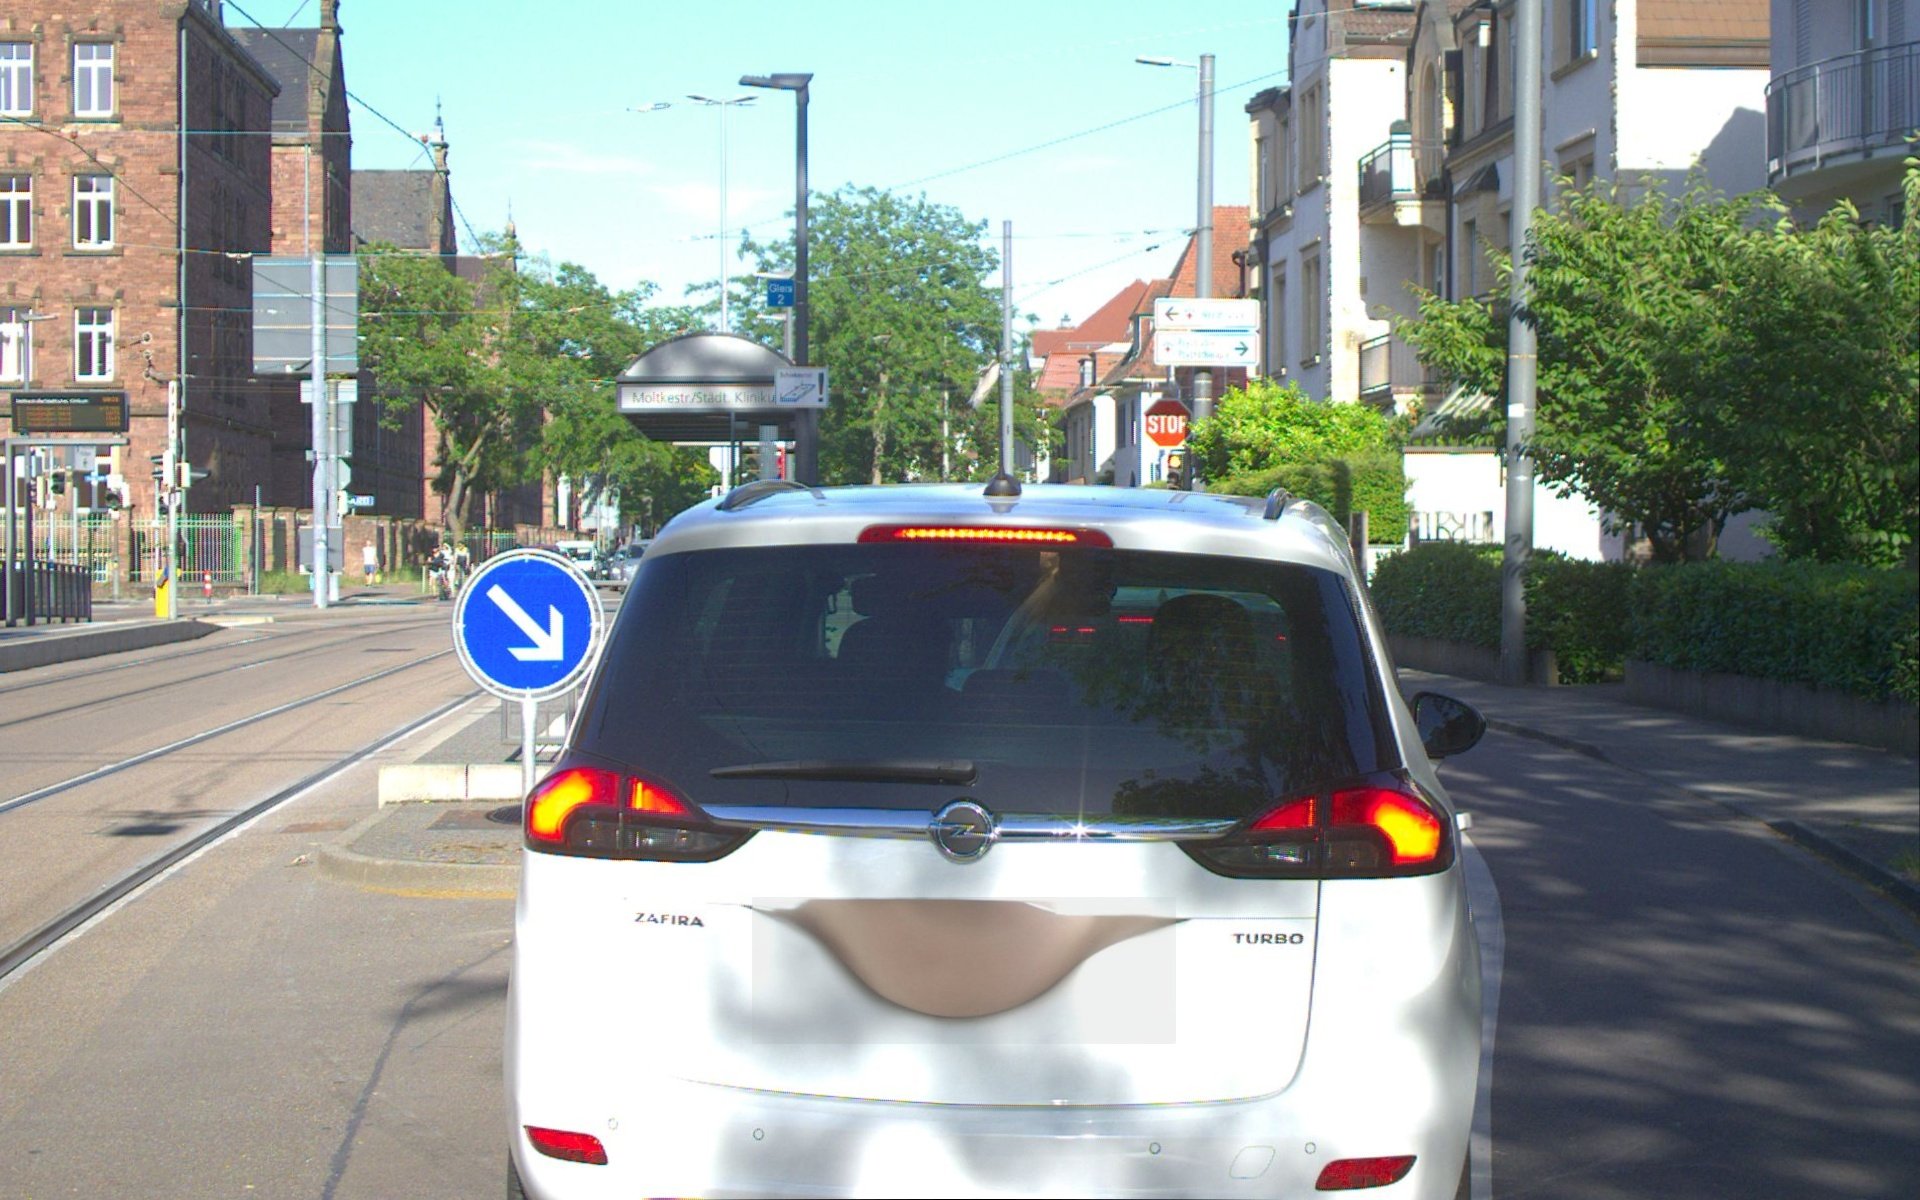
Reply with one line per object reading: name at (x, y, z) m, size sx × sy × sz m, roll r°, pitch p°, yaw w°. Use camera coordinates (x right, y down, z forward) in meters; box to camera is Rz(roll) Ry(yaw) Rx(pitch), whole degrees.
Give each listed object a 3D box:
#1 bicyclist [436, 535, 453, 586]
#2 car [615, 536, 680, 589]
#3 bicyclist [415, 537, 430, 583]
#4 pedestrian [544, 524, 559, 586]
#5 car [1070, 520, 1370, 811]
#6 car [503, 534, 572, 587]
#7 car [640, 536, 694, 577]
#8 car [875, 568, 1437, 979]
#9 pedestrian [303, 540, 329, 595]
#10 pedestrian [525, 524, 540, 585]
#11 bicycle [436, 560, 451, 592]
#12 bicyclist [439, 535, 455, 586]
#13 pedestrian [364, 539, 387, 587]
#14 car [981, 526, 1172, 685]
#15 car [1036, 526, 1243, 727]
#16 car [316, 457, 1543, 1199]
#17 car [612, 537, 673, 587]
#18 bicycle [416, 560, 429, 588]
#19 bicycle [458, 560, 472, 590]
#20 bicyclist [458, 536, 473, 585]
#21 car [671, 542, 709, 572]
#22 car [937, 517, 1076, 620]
bicyclist at (-15.489, -1.188, 103.279) m, size 0.444 × 1.548 × 0.743 m, roll 0°, pitch 1°, yaw -4°
car at (-9.751, -1.193, 107.307) m, size 1.993 × 1.623 × 4.001 m, roll 0°, pitch 1°, yaw -5°
bicyclist at (-17.997, -1.341, 115.091) m, size 0.444 × 1.548 × 0.496 m, roll 0°, pitch 1°, yaw -4°
pedestrian at (-13.329, -1.476, 112.242) m, size 0.444 × 2.007 × 0.496 m, roll 0°, pitch 1°, yaw -4°
car at (1.488, 0.326, 20.825) m, size 1.637 × 1.595 × 3.854 m, roll 0°, pitch 1°, yaw 2°
car at (-13.131, -1.230, 107.083) m, size 1.993 × 1.623 × 4.001 m, roll 0°, pitch 1°, yaw -5°
car at (-11.828, -1.764, 138.988) m, size 1.993 × 1.623 × 4.001 m, roll 0°, pitch 1°, yaw -2°
car at (0.741, 0.584, 13.980) m, size 1.953 × 1.392 × 4.000 m, roll 0°, pitch 1°, yaw 2°
pedestrian at (-20.168, -1.024, 107.736) m, size 0.734 × 1.708 × 0.706 m, roll 1°, pitch 0°, yaw -6°
pedestrian at (-13.923, -1.482, 111.967) m, size 0.444 × 2.007 × 0.496 m, roll 0°, pitch 1°, yaw -4°
bicycle at (-15.497, -0.720, 103.078) m, size 0.344 × 0.946 × 1.160 m, roll 1°, pitch 0°, yaw -4°
bicyclist at (-15.907, -1.226, 106.561) m, size 0.444 × 1.548 × 0.496 m, roll 0°, pitch 1°, yaw -4°
pedestrian at (-20.950, -1.329, 123.291) m, size 0.734 × 1.708 × 0.754 m, roll 1°, pitch 0°, yaw -6°
car at (1.169, 0.020, 36.177) m, size 1.830 × 1.574 × 4.010 m, roll 0°, pitch 1°, yaw -1°
car at (1.488, 0.174, 29.253) m, size 1.637 × 1.595 × 3.854 m, roll 0°, pitch 1°, yaw 2°
car at (0.134, 0.577, 7.600) m, size 1.994 × 1.639 × 3.992 m, roll 1°, pitch 1°, yaw 6°
car at (-10.549, -1.275, 114.413) m, size 1.993 × 1.623 × 4.001 m, roll 0°, pitch 1°, yaw -5°
bicycle at (-18.002, -0.876, 115.135) m, size 0.344 × 0.946 × 0.997 m, roll 1°, pitch 0°, yaw -4°
bicycle at (-15.713, -0.784, 109.160) m, size 0.344 × 0.946 × 0.997 m, roll 1°, pitch 0°, yaw -4°
bicyclist at (-15.704, -1.249, 109.146) m, size 0.444 × 1.548 × 0.496 m, roll 0°, pitch 1°, yaw -4°
car at (-14.494, -2.326, 184.560) m, size 1.993 × 1.623 × 3.989 m, roll 0°, pitch 1°, yaw -5°
car at (0.658, -0.492, 51.757) m, size 1.993 × 1.497 × 4.000 m, roll 0°, pitch 1°, yaw -1°
